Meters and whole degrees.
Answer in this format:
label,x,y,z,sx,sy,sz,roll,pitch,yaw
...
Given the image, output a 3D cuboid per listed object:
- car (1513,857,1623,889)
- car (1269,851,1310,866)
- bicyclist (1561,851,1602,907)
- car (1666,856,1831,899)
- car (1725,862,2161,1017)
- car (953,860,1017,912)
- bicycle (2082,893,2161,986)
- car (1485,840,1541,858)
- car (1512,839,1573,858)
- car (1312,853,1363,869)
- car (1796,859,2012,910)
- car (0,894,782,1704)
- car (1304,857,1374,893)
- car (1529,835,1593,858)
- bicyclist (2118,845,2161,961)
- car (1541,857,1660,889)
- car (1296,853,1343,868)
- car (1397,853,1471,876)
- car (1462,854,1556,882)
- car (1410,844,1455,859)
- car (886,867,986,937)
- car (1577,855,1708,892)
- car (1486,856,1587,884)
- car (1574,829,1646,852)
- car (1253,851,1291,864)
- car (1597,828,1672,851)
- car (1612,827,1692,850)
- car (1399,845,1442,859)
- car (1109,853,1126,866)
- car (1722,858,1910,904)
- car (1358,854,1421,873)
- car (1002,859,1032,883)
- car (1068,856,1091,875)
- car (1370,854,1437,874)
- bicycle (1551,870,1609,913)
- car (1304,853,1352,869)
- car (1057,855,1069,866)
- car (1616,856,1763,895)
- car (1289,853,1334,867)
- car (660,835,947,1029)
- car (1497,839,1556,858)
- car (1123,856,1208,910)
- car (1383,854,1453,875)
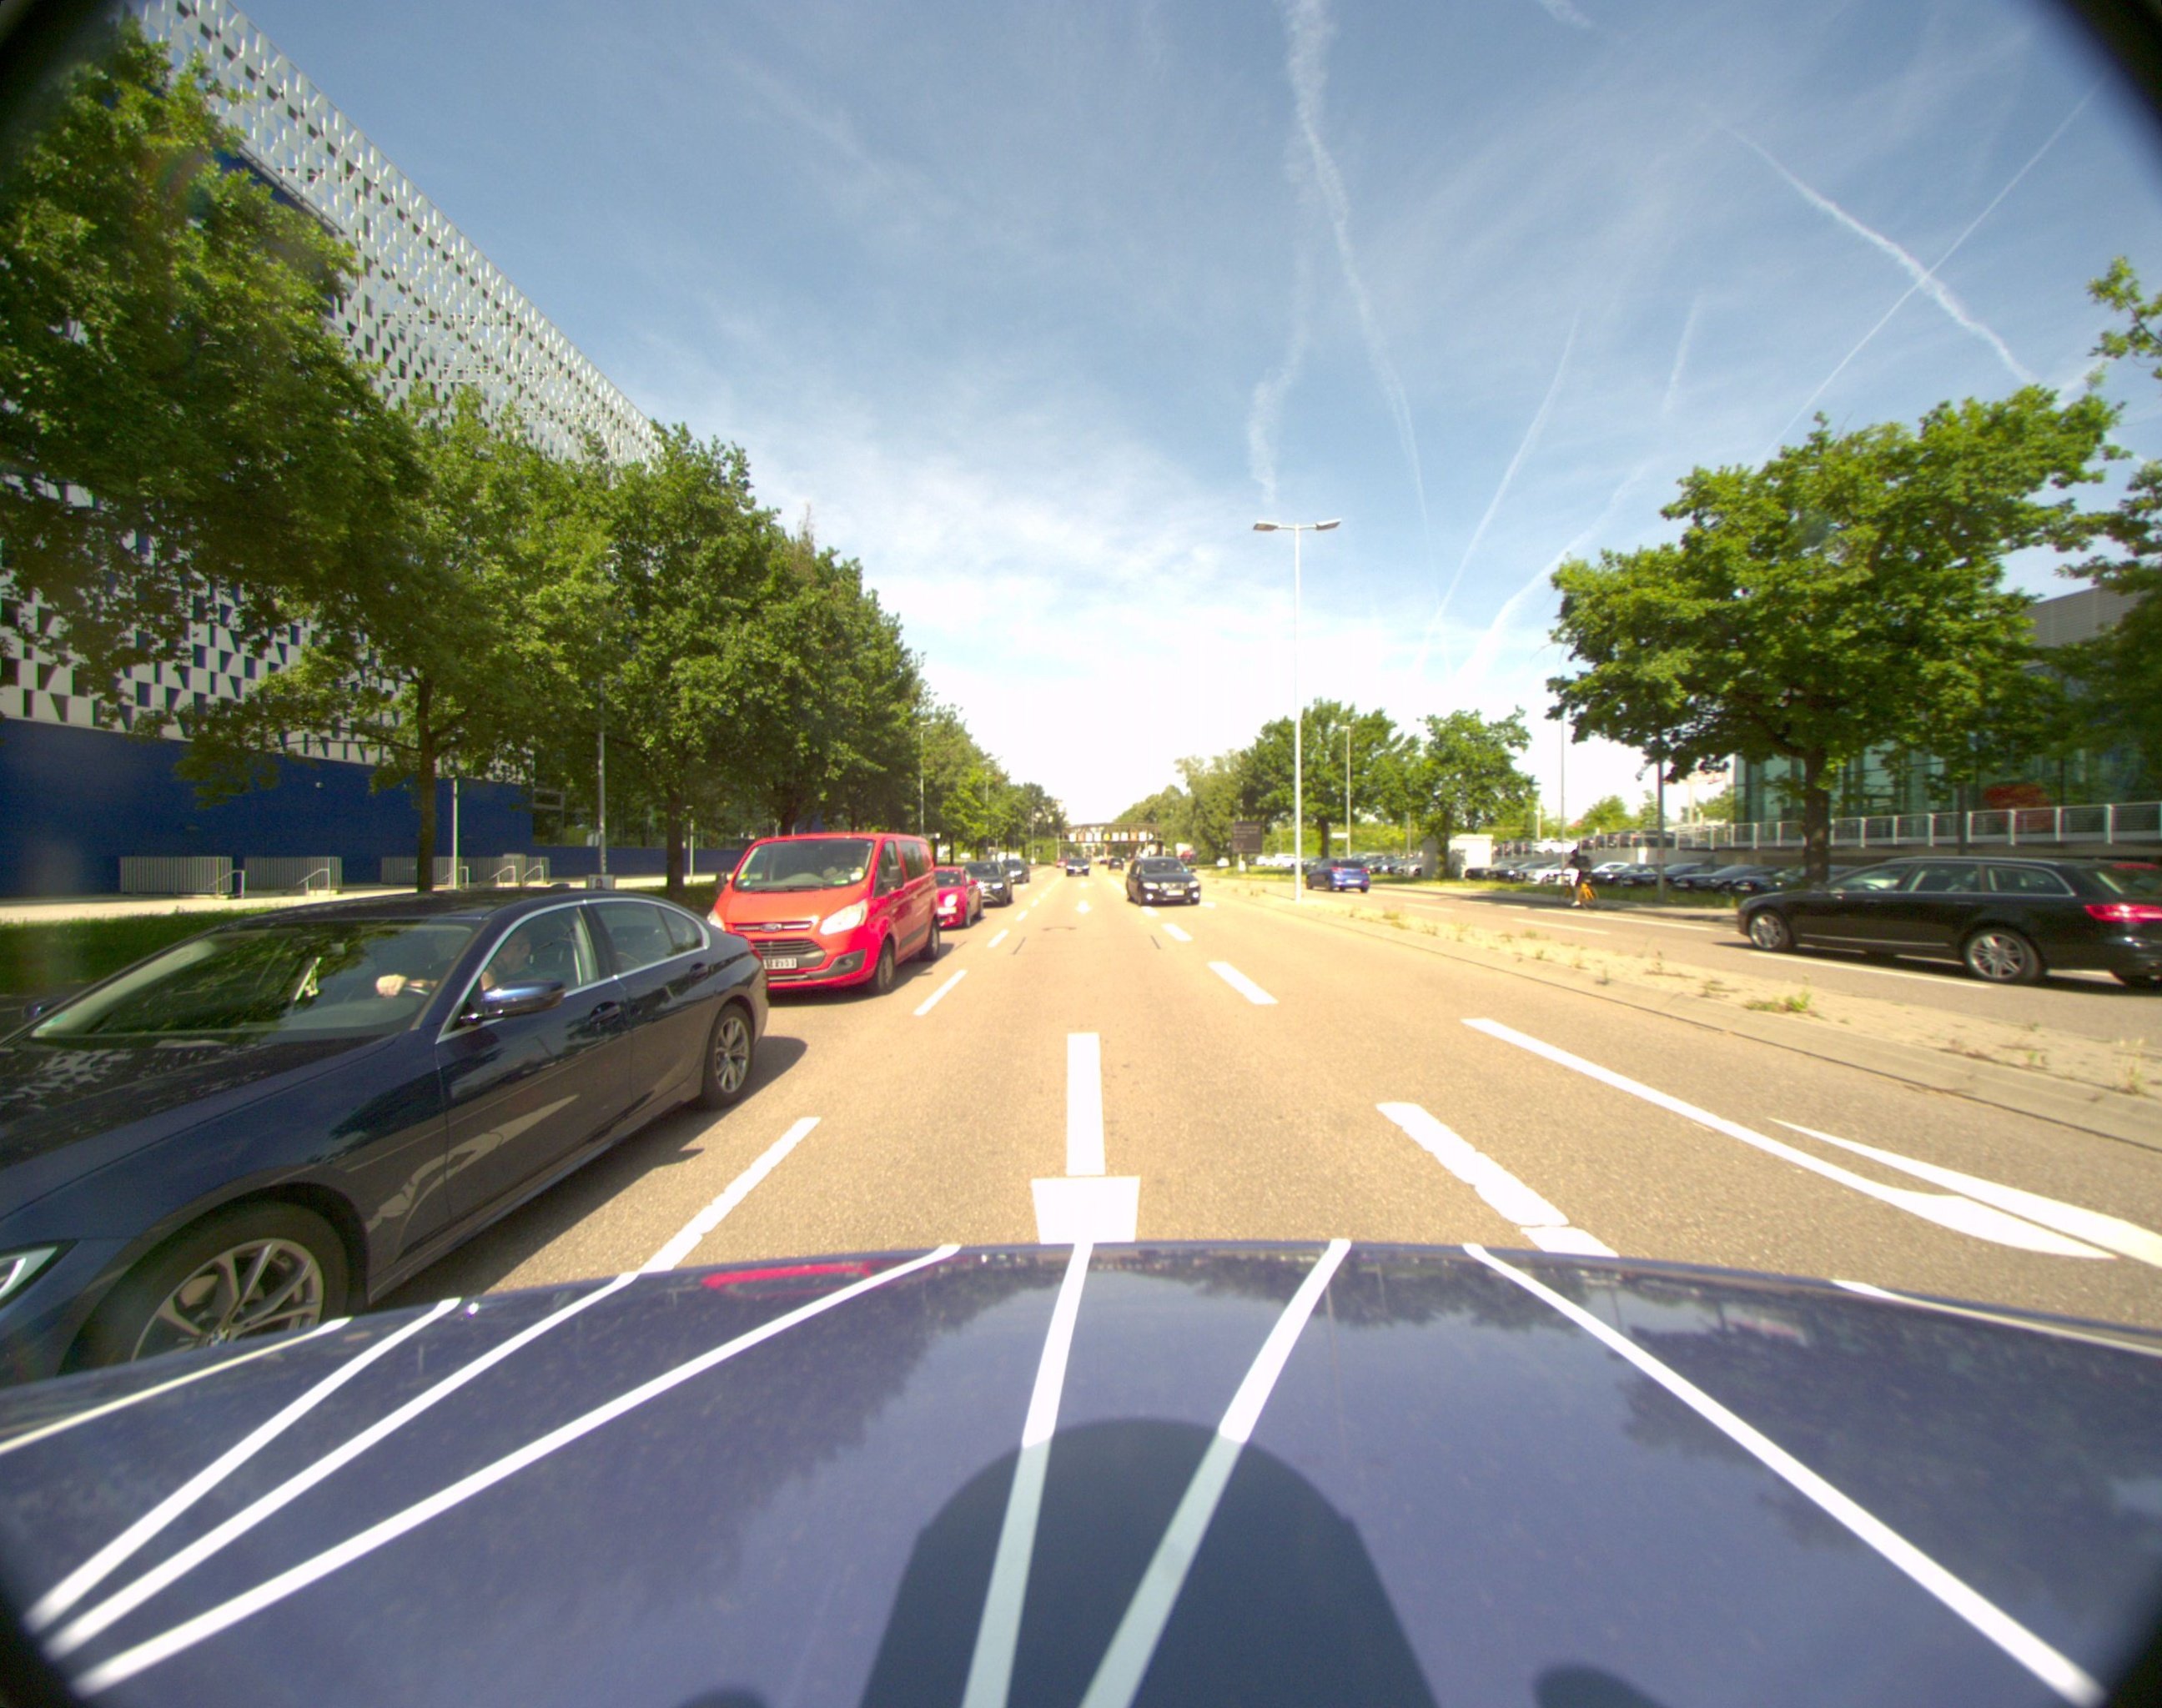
label,x,y,z,sx,sy,sz,roll,pitch,yaw
car,23.675,0.928,37.027,4.196,1.317,1.690,3,0,1
car,23.588,0.500,86.011,4.196,1.490,1.690,3,0,1
bicyclist,14.472,0.708,21.974,0.578,1.587,0.910,1,1,3
car,23.285,0.802,26.601,4.196,1.247,1.690,3,0,1
car,11.145,0.878,9.684,1.851,1.451,4.664,2,0,0
car,-3.190,1.021,25.938,1.649,1.530,3.999,-3,0,-1
bicycle,13.950,1.104,9.431,0.572,1.143,1.925,0,0,3
car,40.176,-0.442,70.733,4.196,1.490,1.690,3,0,1
car,40.083,-0.488,66.108,4.196,1.490,1.690,3,0,1
car,24.537,0.666,72.734,4.196,1.315,1.690,3,0,1
car,23.280,0.844,21.621,4.196,1.188,1.690,3,0,1
car,-3.108,1.033,3.279,1.800,1.420,4.537,-2,0,0
car,11.339,0.886,33.660,1.732,1.430,3.869,2,0,-1
car,40.069,-0.631,63.449,4.196,1.722,1.690,3,0,1
bicyclist,13.952,0.620,9.440,0.571,1.474,1.143,0,0,3
car,23.588,0.839,34.621,4.196,1.248,1.690,3,0,1
car,24.398,0.659,77.781,4.196,1.315,1.690,3,0,1
car,23.992,0.717,51.732,4.196,1.315,1.690,3,0,1
car,23.659,0.772,42.095,4.196,1.315,1.690,3,0,1
car,40.082,-0.277,86.690,4.196,1.490,1.690,3,0,1
car,-3.375,1.061,18.380,1.692,1.414,3.915,-1,0,-1
car,23.523,0.801,31.933,4.196,1.291,1.690,3,0,1
car,23.698,0.815,39.626,4.196,1.239,1.690,3,0,1
car,40.520,-1.036,58.258,4.196,1.490,1.690,3,0,1
car,23.555,0.461,93.797,4.196,1.371,1.690,3,0,1
car,40.409,-1.061,55.525,4.196,1.490,1.690,3,0,1
car,39.734,-1.069,52.901,4.196,1.397,1.690,3,0,1
car,40.288,-0.252,90.245,4.196,1.490,1.690,3,0,1
car,4.347,0.634,91.703,1.866,1.503,4.000,0,0,1
car,23.176,0.833,24.076,4.196,1.198,1.690,3,0,1
car,24.109,0.735,59.387,4.196,1.315,1.690,3,0,1
car,-4.090,1.059,49.118,1.649,1.453,3.999,-2,0,-2
car,-0.138,0.948,64.733,1.848,1.530,4.000,0,0,-1
car,23.961,0.720,56.492,4.196,1.315,1.690,3,0,1
bicycle,14.473,1.070,22.082,0.572,1.143,1.770,1,0,3
car,24.473,0.692,75.280,4.196,1.315,1.690,3,0,1
car,-2.655,0.935,112.991,1.649,1.530,3.999,-3,0,-1
car,23.382,0.819,29.297,4.196,1.252,1.690,3,0,1
car,24.439,0.614,80.571,4.196,1.315,1.690,3,0,1
car,-3.229,0.792,10.100,2.014,1.896,4.809,-2,0,0
car,40.082,-0.478,68.443,4.196,1.490,1.690,3,0,1
car,2.572,0.845,24.323,1.883,1.513,4.867,-2,0,-3
car,24.016,0.730,54.277,4.196,1.315,1.690,3,0,1
